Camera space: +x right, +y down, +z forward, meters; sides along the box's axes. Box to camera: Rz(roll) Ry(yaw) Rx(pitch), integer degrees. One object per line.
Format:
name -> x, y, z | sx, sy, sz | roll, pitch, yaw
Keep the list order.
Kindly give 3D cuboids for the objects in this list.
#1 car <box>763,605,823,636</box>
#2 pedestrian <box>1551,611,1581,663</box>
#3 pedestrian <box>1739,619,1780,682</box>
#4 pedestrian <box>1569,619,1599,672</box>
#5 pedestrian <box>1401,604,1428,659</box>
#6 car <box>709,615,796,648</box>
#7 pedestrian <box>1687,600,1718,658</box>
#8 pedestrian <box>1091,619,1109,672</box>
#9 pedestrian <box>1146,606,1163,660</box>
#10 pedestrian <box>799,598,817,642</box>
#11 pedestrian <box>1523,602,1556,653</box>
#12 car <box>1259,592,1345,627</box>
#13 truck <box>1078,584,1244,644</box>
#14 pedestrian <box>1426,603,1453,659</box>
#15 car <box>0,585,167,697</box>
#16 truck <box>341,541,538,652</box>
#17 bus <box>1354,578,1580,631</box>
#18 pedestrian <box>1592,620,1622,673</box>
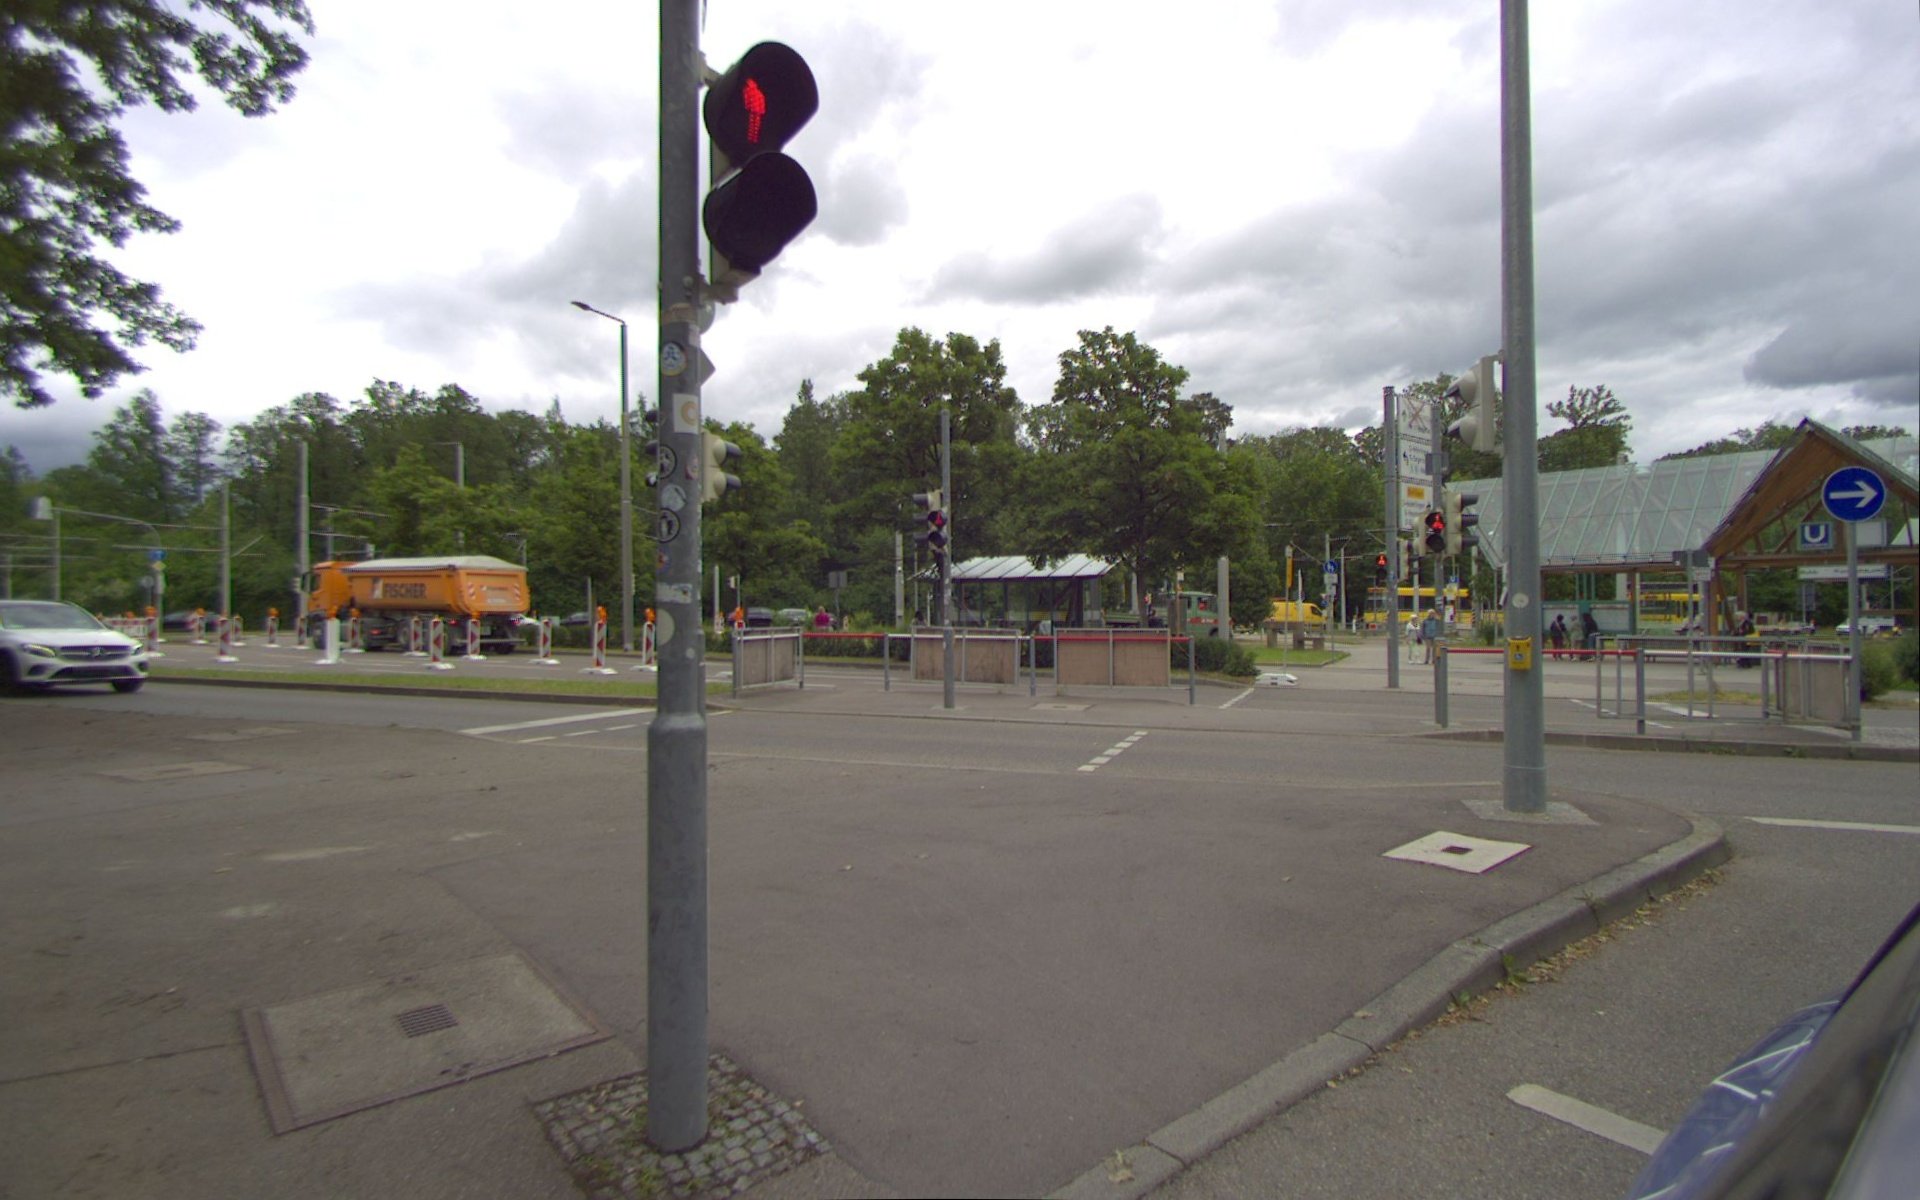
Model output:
car -> -11.697, 1.457, 70.829 | 3.915, 2.040, 2.003 | 1, -3, -17
pedestrian -> 21.043, 1.295, 35.163 | 0.655, 1.780, 0.562 | 1, -3, -7
pedestrian -> 22.924, 1.437, 29.010 | 0.642, 1.780, 0.669 | 2, -3, -25
pedestrian -> 21.301, 1.544, 34.539 | 0.589, 1.780, 0.667 | 0, -3, 6
pedestrian -> 14.943, 1.022, 33.244 | 0.730, 1.780, 0.661 | -1, -3, 30
car -> -13.526, 2.052, 65.867 | 5.321, 2.040, 2.003 | 1, -3, -17
pedestrian -> 22.996, 0.891, 31.358 | 0.650, 1.780, 0.661 | -1, -3, 30
pedestrian -> 4.090, 1.334, 29.529 | 0.472, 1.536, 0.521 | 0, -3, 12
pedestrian -> 5.600, 0.950, 29.177 | 0.472, 1.536, 0.521 | 0, -3, 12
pedestrian -> -8.008, 1.048, 53.348 | 0.846, 2.325, 0.616 | 0, -3, 1
pedestrian -> 20.506, 0.972, 35.811 | 0.722, 1.780, 0.733 | 2, -3, -35
car -> 25.758, 0.760, 76.271 | 6.018, 2.527, 2.003 | 1, -3, -17
truck -> 8.396, 0.614, 42.692 | 6.411, 2.383, 2.408 | 1, -3, -6
pedestrian -> 15.634, 1.008, 32.988 | 0.730, 1.780, 0.661 | -1, -3, 29
car -> -16.478, 0.714, 17.915 | 4.530, 1.773, 1.982 | -1, -3, 25
truck -> -18.577, -0.133, 35.902 | 8.197, 3.559, 2.831 | 1, -1, 36
bus -> 38.523, 0.502, 76.617 | 18.185, 3.529, 3.985 | 1, -3, -21
pedestrian -> 21.873, 1.558, 34.232 | 0.589, 1.780, 0.667 | 0, -3, 6
